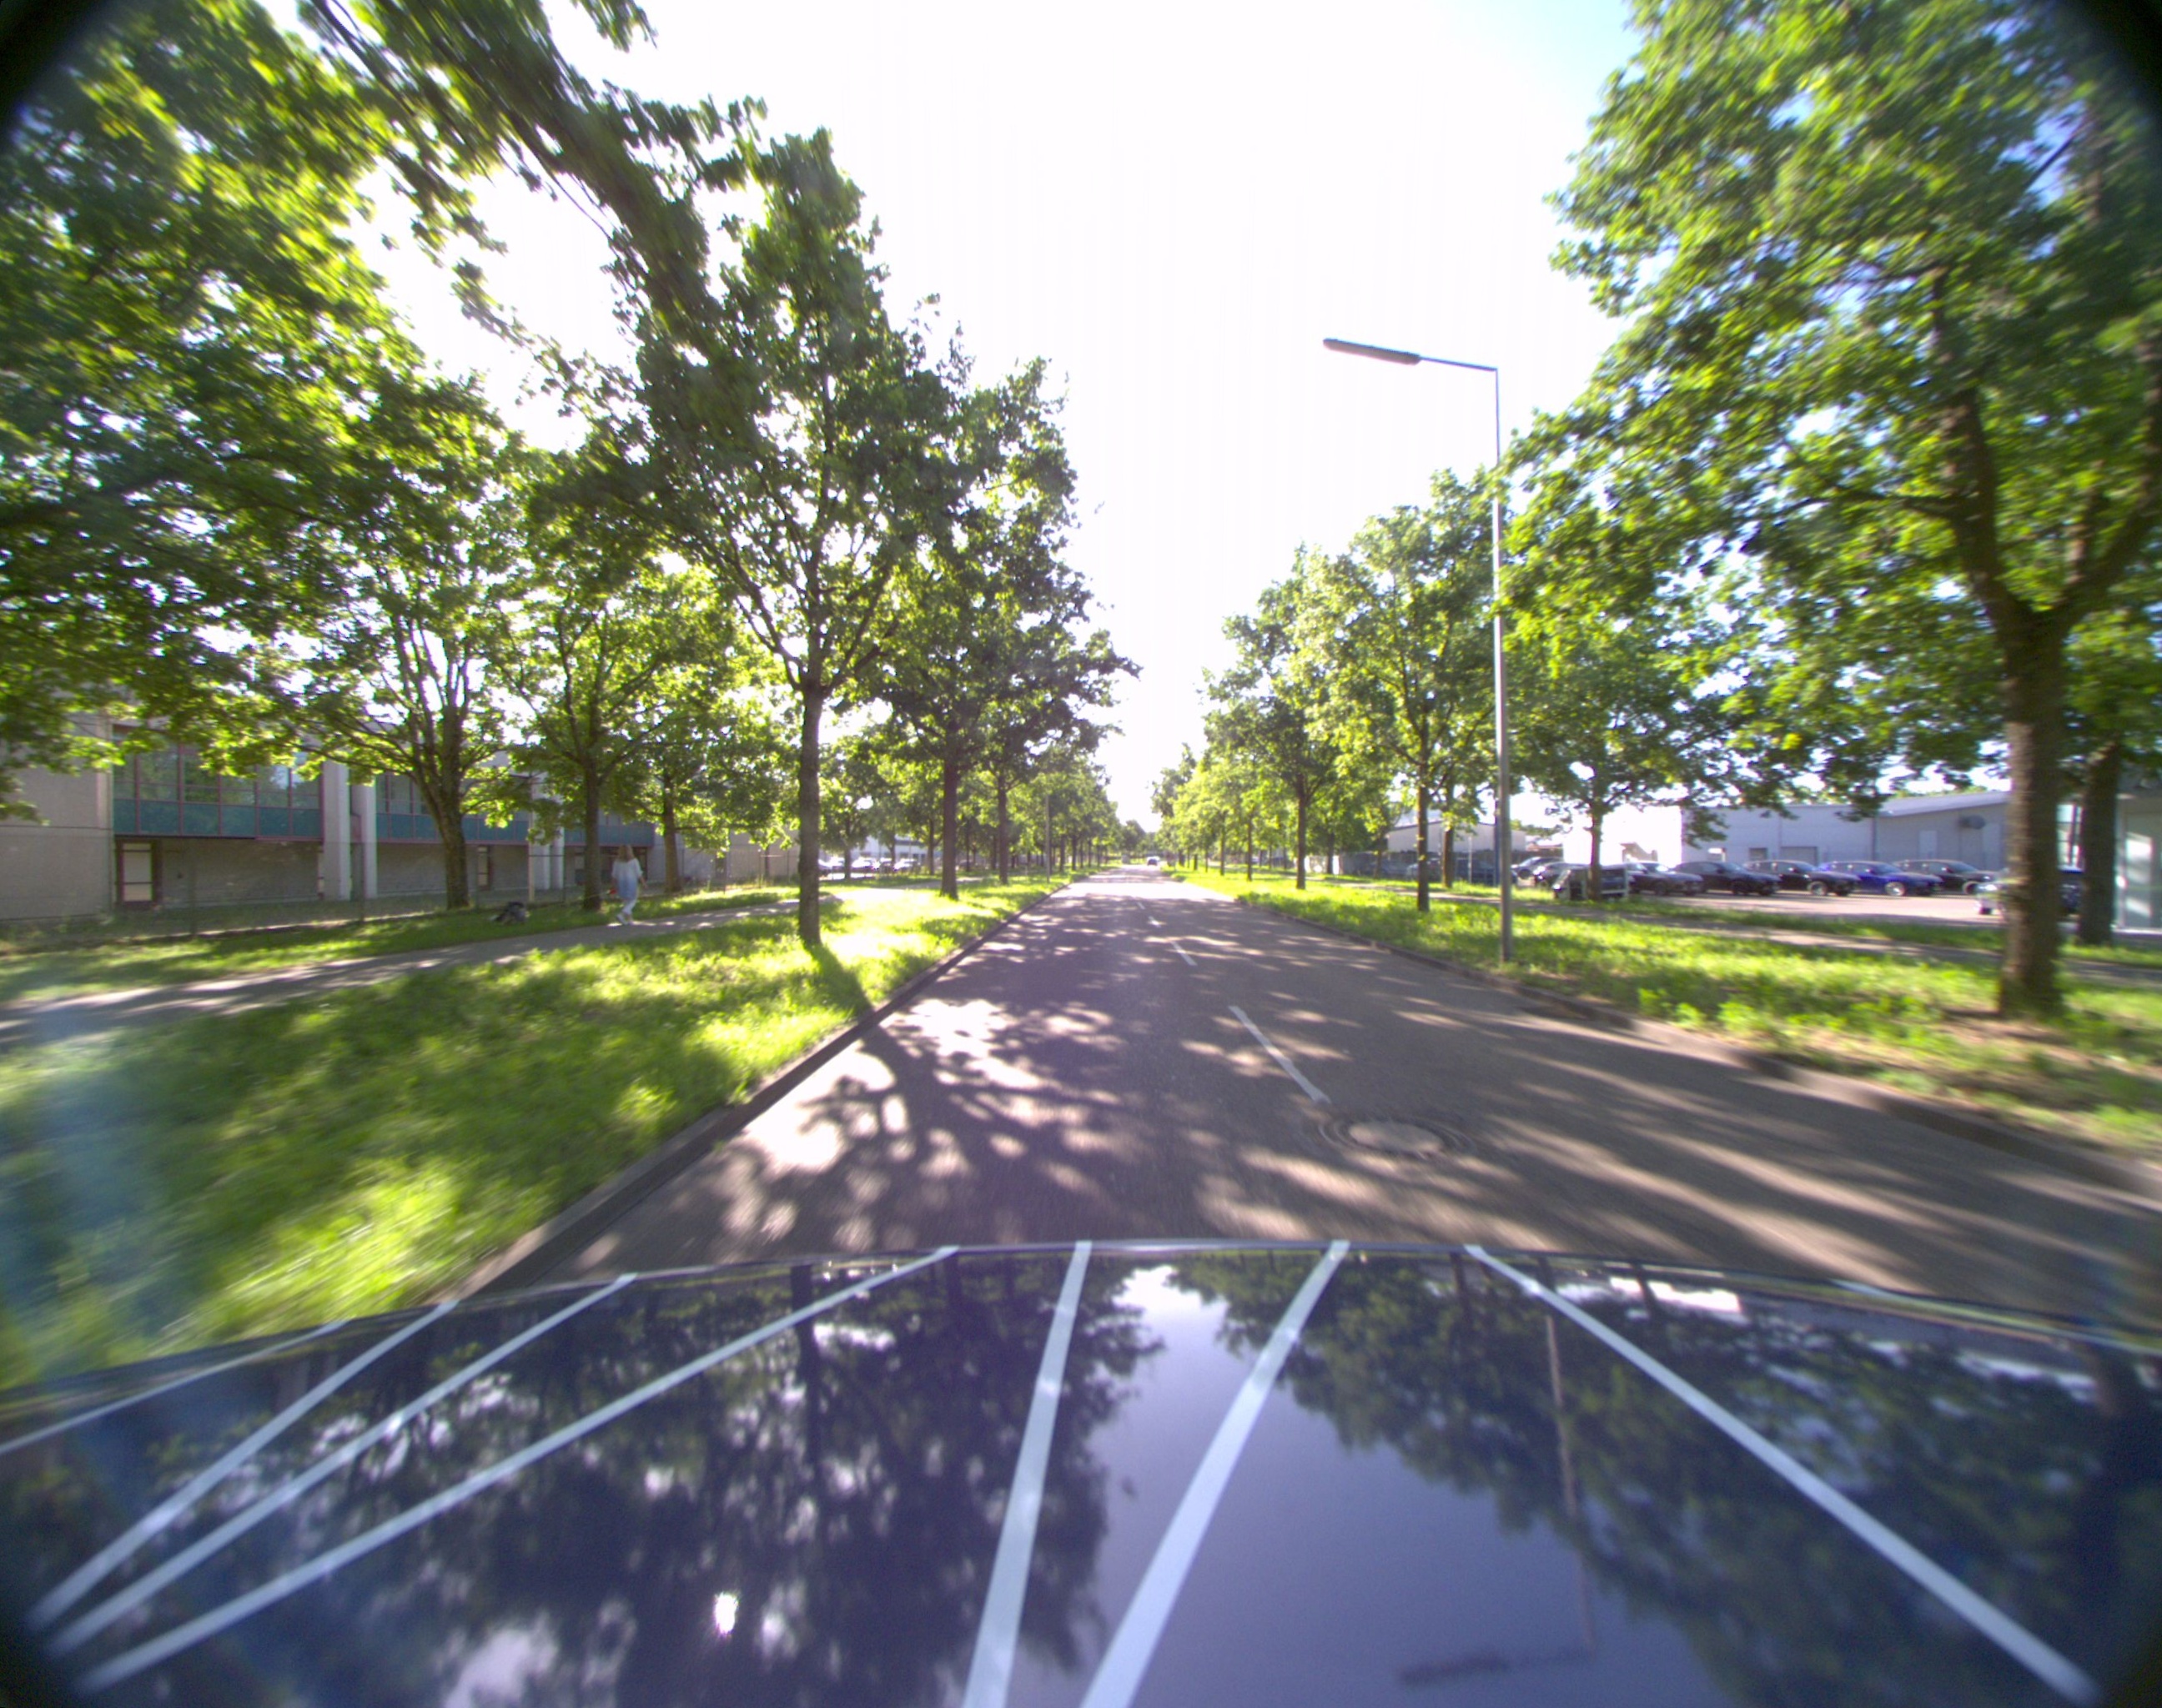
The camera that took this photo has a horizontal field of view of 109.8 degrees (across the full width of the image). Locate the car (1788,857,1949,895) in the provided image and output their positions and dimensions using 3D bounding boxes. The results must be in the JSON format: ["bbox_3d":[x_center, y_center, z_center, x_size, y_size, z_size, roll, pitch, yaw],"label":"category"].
[{"bbox_3d":[38.590,1.021,37.473,2.000,1.651,5.255,-2,0,-10],"label":"car"}]

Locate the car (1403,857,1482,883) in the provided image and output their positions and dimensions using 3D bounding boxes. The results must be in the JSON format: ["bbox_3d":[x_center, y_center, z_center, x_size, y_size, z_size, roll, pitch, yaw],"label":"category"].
[{"bbox_3d":[24.056,1.063,50.701,4.320,1.510,1.862,-2,1,5],"label":"car"}]

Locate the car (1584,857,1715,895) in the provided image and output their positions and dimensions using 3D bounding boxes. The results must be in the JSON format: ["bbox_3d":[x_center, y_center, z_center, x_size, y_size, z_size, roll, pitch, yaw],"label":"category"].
[{"bbox_3d":[28.484,1.059,38.344,2.000,1.707,5.254,-2,0,-12],"label":"car"}]

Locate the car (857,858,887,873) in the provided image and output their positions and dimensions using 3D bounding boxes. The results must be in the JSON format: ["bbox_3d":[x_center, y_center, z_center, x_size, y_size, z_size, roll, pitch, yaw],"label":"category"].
[{"bbox_3d":[-23.840,1.248,86.732,1.998,1.663,4.457,0,0,3],"label":"car"}]

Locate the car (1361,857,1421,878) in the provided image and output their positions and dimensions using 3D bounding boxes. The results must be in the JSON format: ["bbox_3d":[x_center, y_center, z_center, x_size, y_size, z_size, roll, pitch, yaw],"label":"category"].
[{"bbox_3d":[25.053,1.082,61.497,3.995,1.510,2.199,-2,0,5],"label":"car"}]

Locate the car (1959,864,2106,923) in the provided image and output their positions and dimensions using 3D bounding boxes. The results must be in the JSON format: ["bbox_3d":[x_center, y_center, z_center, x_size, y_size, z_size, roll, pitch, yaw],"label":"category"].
[{"bbox_3d":[30.235,1.178,24.343,1.994,1.651,5.271,-2,-1,41],"label":"car"}]

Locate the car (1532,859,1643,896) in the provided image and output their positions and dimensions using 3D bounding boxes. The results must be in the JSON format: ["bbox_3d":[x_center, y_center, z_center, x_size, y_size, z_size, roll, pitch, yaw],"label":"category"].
[{"bbox_3d":[25.459,1.150,38.428,2.001,1.665,4.494,-2,0,-13],"label":"car"}]

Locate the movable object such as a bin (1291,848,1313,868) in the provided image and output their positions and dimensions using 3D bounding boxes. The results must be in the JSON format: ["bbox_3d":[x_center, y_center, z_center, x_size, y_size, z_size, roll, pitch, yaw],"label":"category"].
[{"bbox_3d":[30.089,0.530,103.550,1.997,2.501,4.237,-2,0,6],"label":"movable object such as a bin"}]

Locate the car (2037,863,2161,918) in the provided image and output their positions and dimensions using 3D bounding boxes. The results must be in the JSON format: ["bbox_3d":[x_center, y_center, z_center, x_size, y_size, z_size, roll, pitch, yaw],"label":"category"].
[{"bbox_3d":[34.810,1.139,25.269,1.995,1.651,5.020,-1,-1,30],"label":"car"}]

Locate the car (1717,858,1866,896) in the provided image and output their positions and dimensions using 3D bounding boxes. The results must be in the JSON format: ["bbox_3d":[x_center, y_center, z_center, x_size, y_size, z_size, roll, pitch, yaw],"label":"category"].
[{"bbox_3d":[35.261,1.072,37.945,2.000,1.651,5.255,-2,0,-10],"label":"car"}]

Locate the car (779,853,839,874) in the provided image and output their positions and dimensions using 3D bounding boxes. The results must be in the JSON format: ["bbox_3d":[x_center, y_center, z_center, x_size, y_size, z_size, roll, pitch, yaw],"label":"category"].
[{"bbox_3d":[-26.162,0.928,73.128,5.076,1.948,1.895,1,1,-1],"label":"car"}]

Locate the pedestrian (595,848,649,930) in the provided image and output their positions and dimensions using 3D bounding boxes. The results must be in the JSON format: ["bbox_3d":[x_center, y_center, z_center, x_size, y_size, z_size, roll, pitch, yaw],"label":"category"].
[{"bbox_3d":[-9.454,0.712,15.662,0.609,1.621,0.719,2,0,3],"label":"pedestrian"}]

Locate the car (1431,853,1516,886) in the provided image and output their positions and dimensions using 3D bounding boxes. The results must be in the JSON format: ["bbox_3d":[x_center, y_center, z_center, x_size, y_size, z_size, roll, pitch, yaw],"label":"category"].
[{"bbox_3d":[23.244,0.897,45.119,3.995,1.732,2.001,-2,1,6],"label":"car"}]

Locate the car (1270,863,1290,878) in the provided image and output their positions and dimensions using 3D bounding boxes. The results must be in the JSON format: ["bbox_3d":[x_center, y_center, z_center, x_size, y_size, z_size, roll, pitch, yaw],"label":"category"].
[{"bbox_3d":[29.312,2.379,112.193,1.998,2.162,5.673,0,0,6],"label":"car"}]

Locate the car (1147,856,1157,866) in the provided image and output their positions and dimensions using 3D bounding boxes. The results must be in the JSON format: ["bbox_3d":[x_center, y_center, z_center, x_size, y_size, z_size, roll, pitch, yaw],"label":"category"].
[{"bbox_3d":[12.950,1.247,139.091,1.771,1.663,4.200,1,1,4],"label":"car"}]

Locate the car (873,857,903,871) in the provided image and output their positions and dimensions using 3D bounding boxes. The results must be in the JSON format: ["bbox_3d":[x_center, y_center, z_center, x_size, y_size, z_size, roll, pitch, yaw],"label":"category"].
[{"bbox_3d":[-21.873,1.115,86.247,1.998,1.550,4.457,0,0,3],"label":"car"}]

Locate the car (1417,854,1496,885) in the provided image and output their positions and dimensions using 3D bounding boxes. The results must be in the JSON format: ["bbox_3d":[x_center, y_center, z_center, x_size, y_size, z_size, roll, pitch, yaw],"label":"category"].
[{"bbox_3d":[23.660,0.959,48.002,3.995,1.736,1.862,-2,1,5],"label":"car"}]

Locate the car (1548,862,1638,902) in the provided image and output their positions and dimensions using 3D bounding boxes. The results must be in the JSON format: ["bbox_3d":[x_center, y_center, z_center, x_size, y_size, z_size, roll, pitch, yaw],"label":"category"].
[{"bbox_3d":[19.592,1.065,29.162,2.570,1.461,1.427,0,0,19],"label":"car"}]

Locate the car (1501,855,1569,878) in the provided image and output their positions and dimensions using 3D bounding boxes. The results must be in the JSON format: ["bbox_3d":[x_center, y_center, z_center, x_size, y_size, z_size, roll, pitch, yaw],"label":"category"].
[{"bbox_3d":[33.876,0.929,56.749,3.995,1.510,1.752,-2,1,5],"label":"car"}]

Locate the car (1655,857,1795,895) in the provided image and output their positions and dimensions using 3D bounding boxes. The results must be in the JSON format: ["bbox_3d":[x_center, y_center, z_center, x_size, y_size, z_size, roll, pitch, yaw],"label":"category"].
[{"bbox_3d":[31.977,1.041,38.003,2.000,1.680,5.255,-2,0,-10],"label":"car"}]
